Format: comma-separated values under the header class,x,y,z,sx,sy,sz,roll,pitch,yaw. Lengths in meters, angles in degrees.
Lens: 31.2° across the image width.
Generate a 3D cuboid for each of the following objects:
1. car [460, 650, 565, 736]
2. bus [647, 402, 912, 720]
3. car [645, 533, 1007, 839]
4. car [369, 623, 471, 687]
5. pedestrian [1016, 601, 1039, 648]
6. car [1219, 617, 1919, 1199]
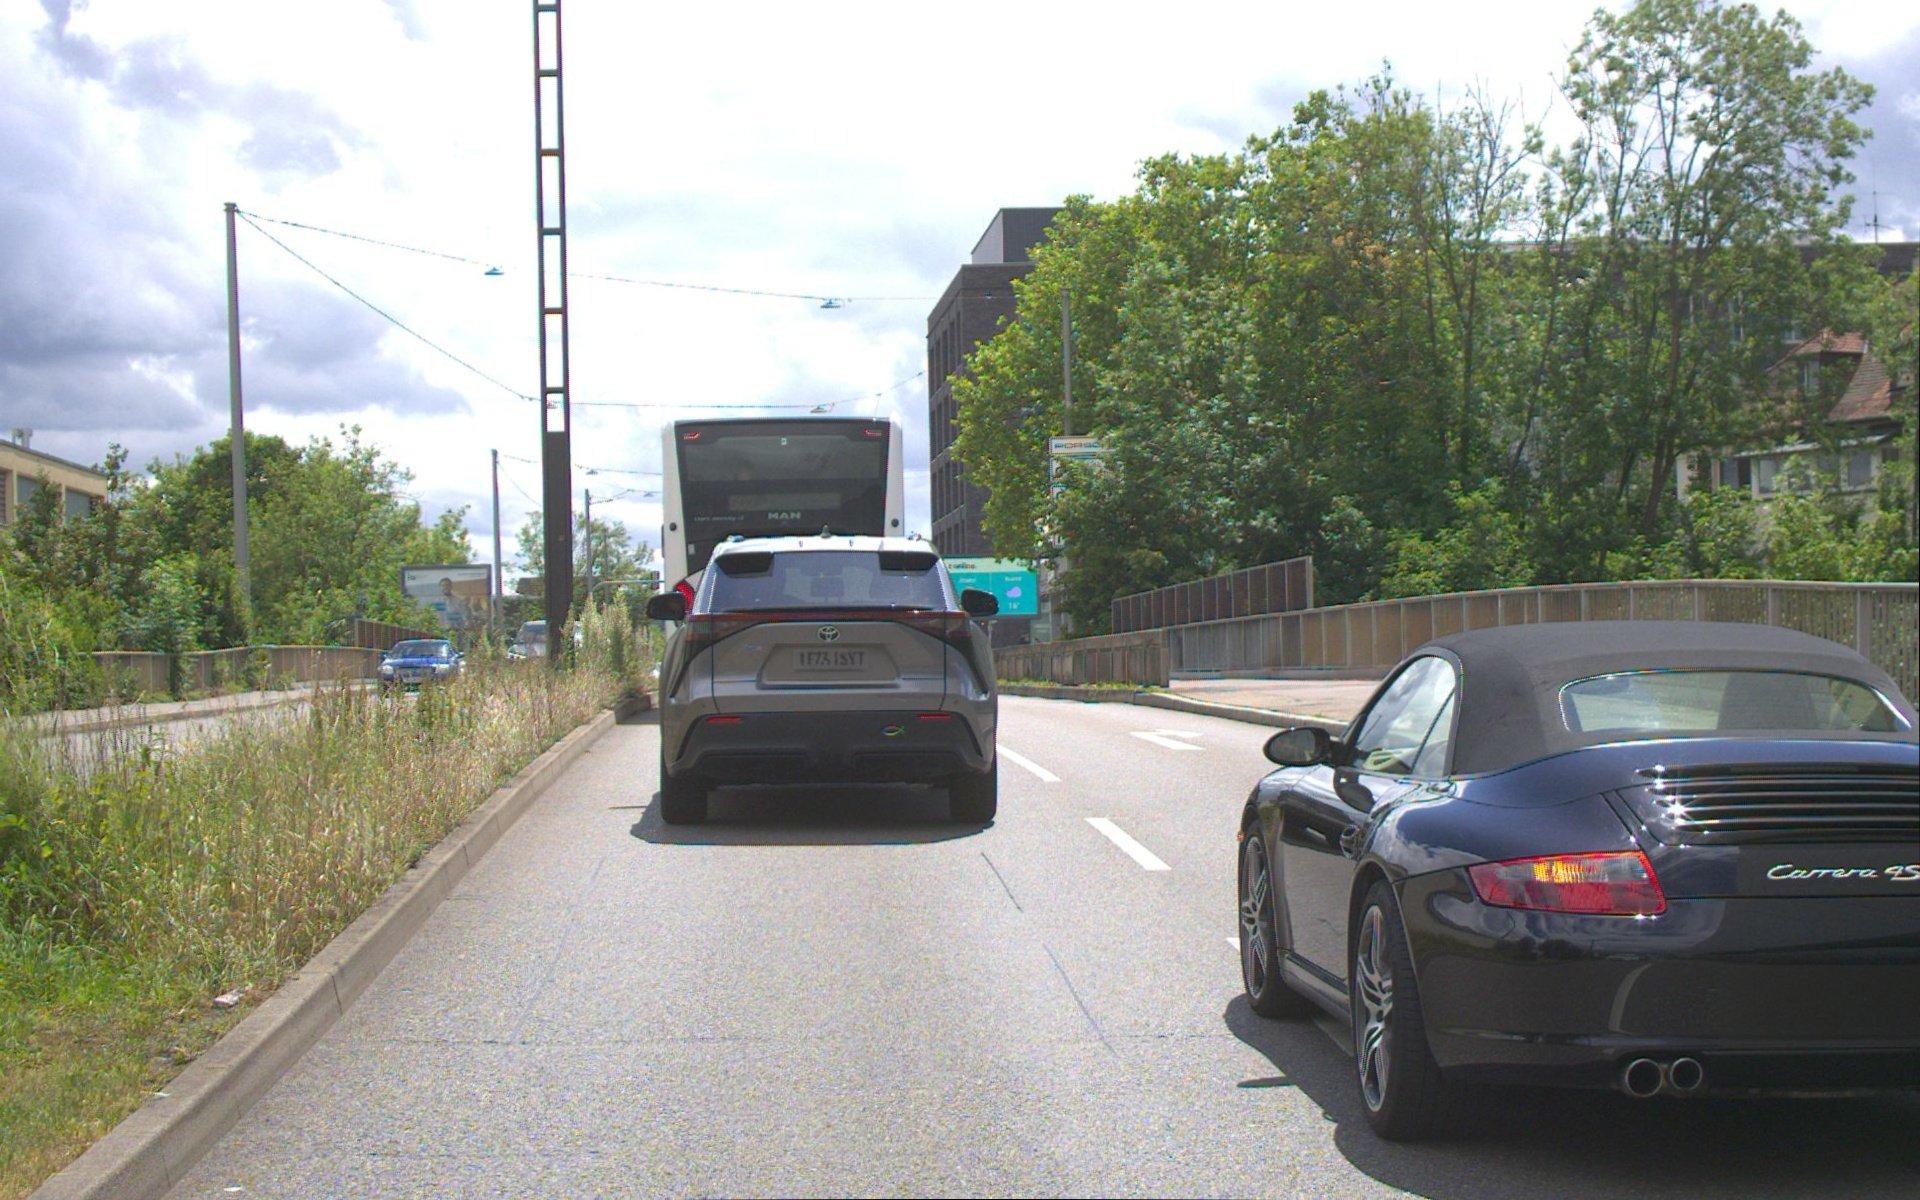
class,x,y,z,sx,sy,sz,roll,pitch,yaw
car,-9.627,1.984,74.277,1.877,1.621,4.444,-3,1,-3
bus,-2.104,-0.584,41.353,2.689,3.244,12.059,0,2,-2
car,-0.765,0.430,20.083,1.879,1.588,4.230,0,1,-2
car,-11.893,1.205,75.950,1.754,1.271,4.000,-4,0,-3
pedestrian,2.501,0.913,127.248,0.680,1.691,0.597,-2,-2,22
car,1.814,0.720,9.663,1.719,1.271,4.088,0,1,-2
